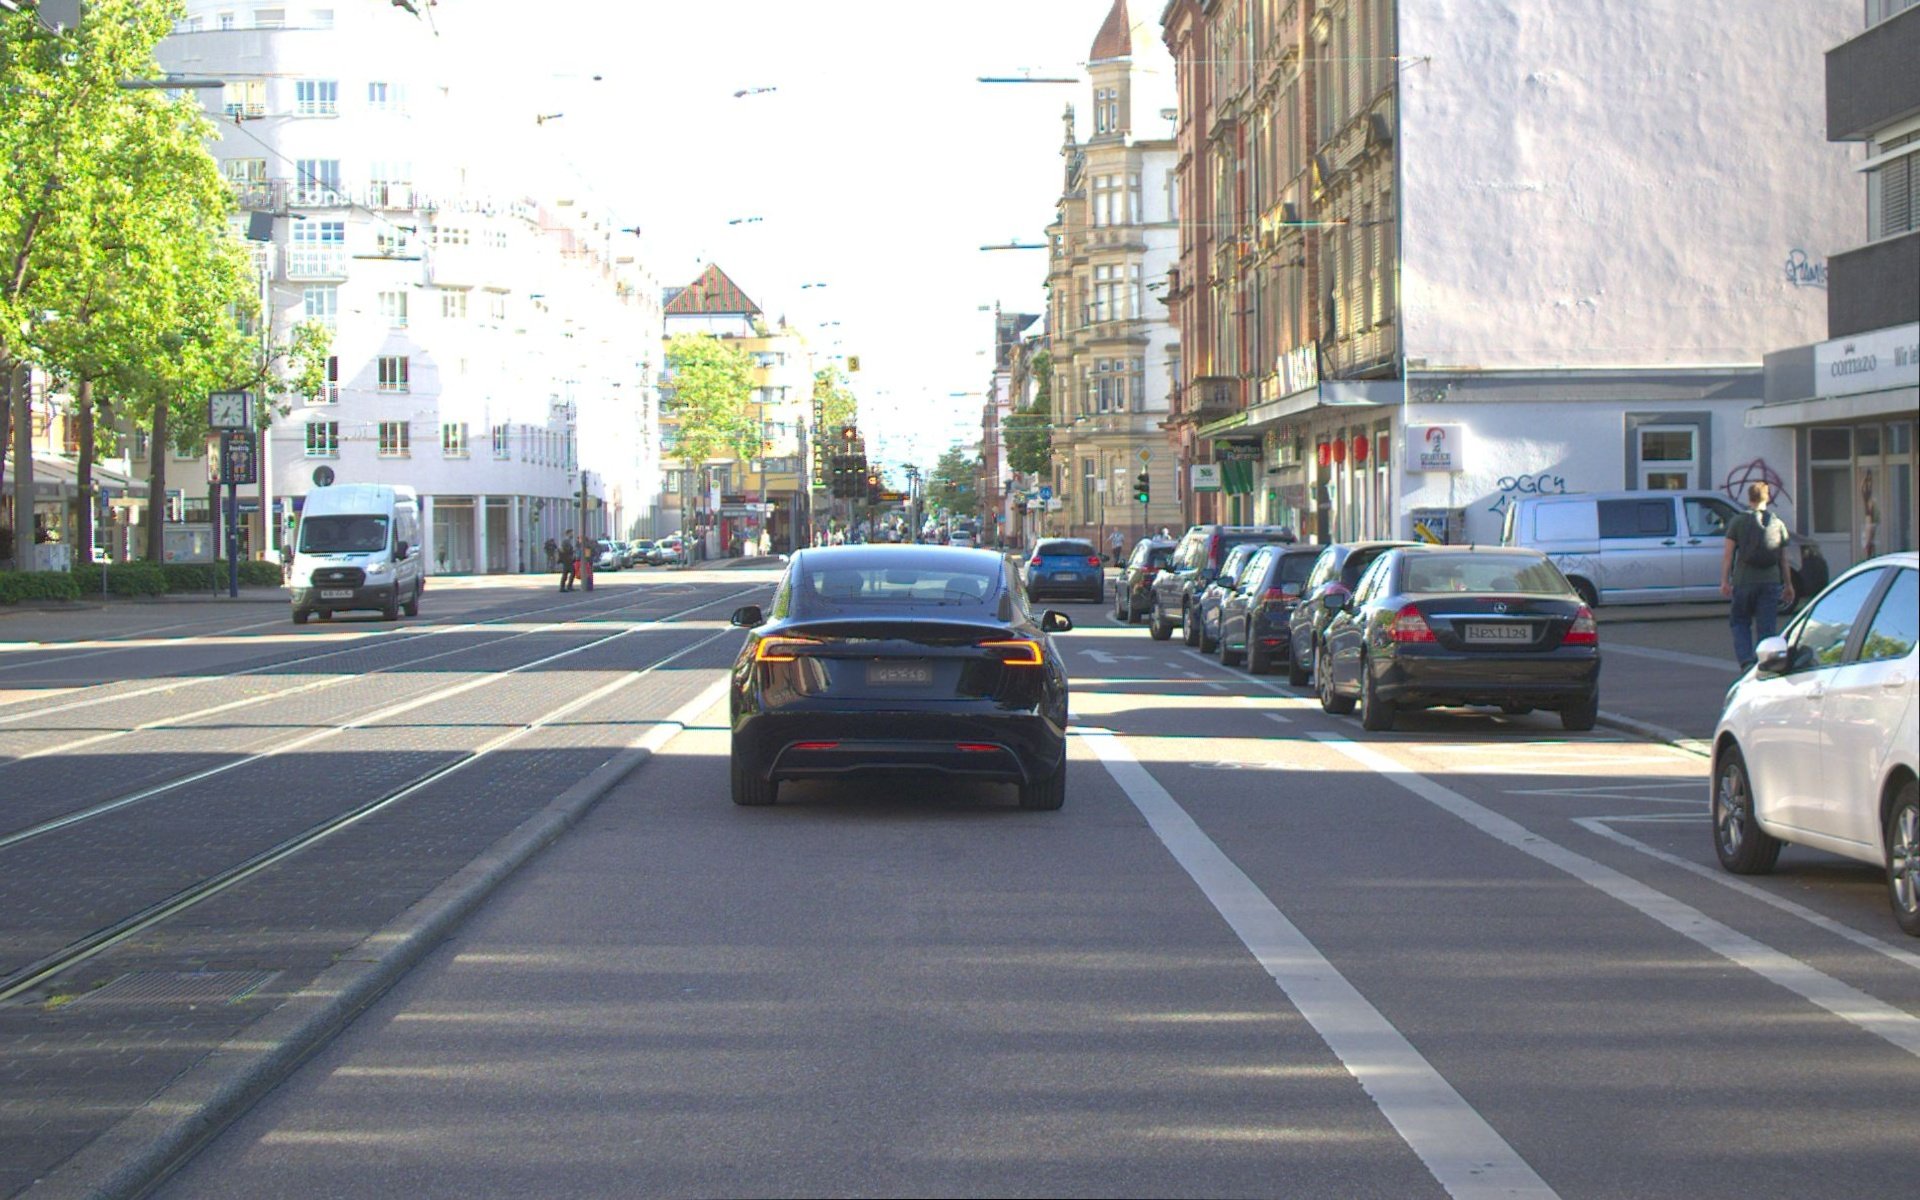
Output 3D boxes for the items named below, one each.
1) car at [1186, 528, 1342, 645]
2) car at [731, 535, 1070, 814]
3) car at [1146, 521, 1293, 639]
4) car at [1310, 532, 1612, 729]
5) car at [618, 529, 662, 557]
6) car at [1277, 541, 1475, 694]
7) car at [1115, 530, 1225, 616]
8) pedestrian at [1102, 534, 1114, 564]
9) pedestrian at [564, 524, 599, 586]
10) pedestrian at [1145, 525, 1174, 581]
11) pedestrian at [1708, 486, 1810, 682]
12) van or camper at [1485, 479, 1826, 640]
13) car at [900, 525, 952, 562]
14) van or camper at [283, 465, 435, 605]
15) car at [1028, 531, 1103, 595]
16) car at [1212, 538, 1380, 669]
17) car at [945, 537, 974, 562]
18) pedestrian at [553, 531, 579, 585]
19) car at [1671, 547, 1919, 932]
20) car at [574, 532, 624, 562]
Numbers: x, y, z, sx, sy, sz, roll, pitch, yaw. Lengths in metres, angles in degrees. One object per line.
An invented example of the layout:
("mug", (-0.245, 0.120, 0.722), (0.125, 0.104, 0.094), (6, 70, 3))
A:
("car", (3.924, -0.166, 44.834), (1.578, 1.439, 3.914), (1, 0, -1))
("car", (-0.363, 0.349, 19.573), (1.719, 1.400, 3.710), (1, 1, -2))
("car", (3.719, -0.271, 49.866), (1.829, 1.622, 4.095), (1, 0, 0))
("car", (3.989, 0.210, 28.041), (1.710, 1.452, 4.551), (1, 0, -1))
("car", (-17.255, -3.082, 185.579), (1.993, 1.490, 4.000), (-1, 1, -1))
("car", (4.117, 0.168, 34.418), (1.578, 1.442, 3.309), (1, 0, 0))
("car", (3.678, -0.478, 60.632), (1.715, 1.467, 3.719), (-1, 0, 0))
("pedestrian", (6.060, -2.087, 140.454), (0.441, 1.217, 0.389), (-1, 1, -1))
("pedestrian", (-10.353, -1.232, 94.151), (0.844, 1.689, 0.796), (2, 1, -1))
("pedestrian", (5.795, -1.368, 99.775), (0.748, 1.611, 0.706), (-1, 0, -3))
("pedestrian", (7.489, -0.155, 32.251), (0.721, 1.806, 0.889), (-1, 0, -1))
("van or camper", (10.294, -0.599, 51.145), (4.644, 2.129, 1.987), (-3, 0, 4))
("car", (-1.521, -2.488, 152.565), (1.993, 1.520, 4.001), (1, 0, -5))
("van or camper", (-11.945, -1.260, 68.754), (2.139, 2.645, 6.881), (-1, 0, -3))
("car", (2.395, -0.840, 78.444), (1.593, 1.428, 3.686), (-1, 0, 0))
("car", (3.831, 0.045, 39.624), (1.461, 1.427, 3.814), (1, 0, -1))
("car", (-0.019, -3.259, 220.674), (1.846, 1.587, 4.000), (-1, 1, 0))
("pedestrian", (-11.135, -1.186, 97.136), (0.702, 1.496, 0.795), (0, 0, -5))
("car", (4.307, 0.514, 14.487), (1.601, 1.438, 3.885), (0, 0, -3))
("car", (-16.942, -2.479, 161.483), (1.993, 1.363, 4.000), (-1, 0, -1))
